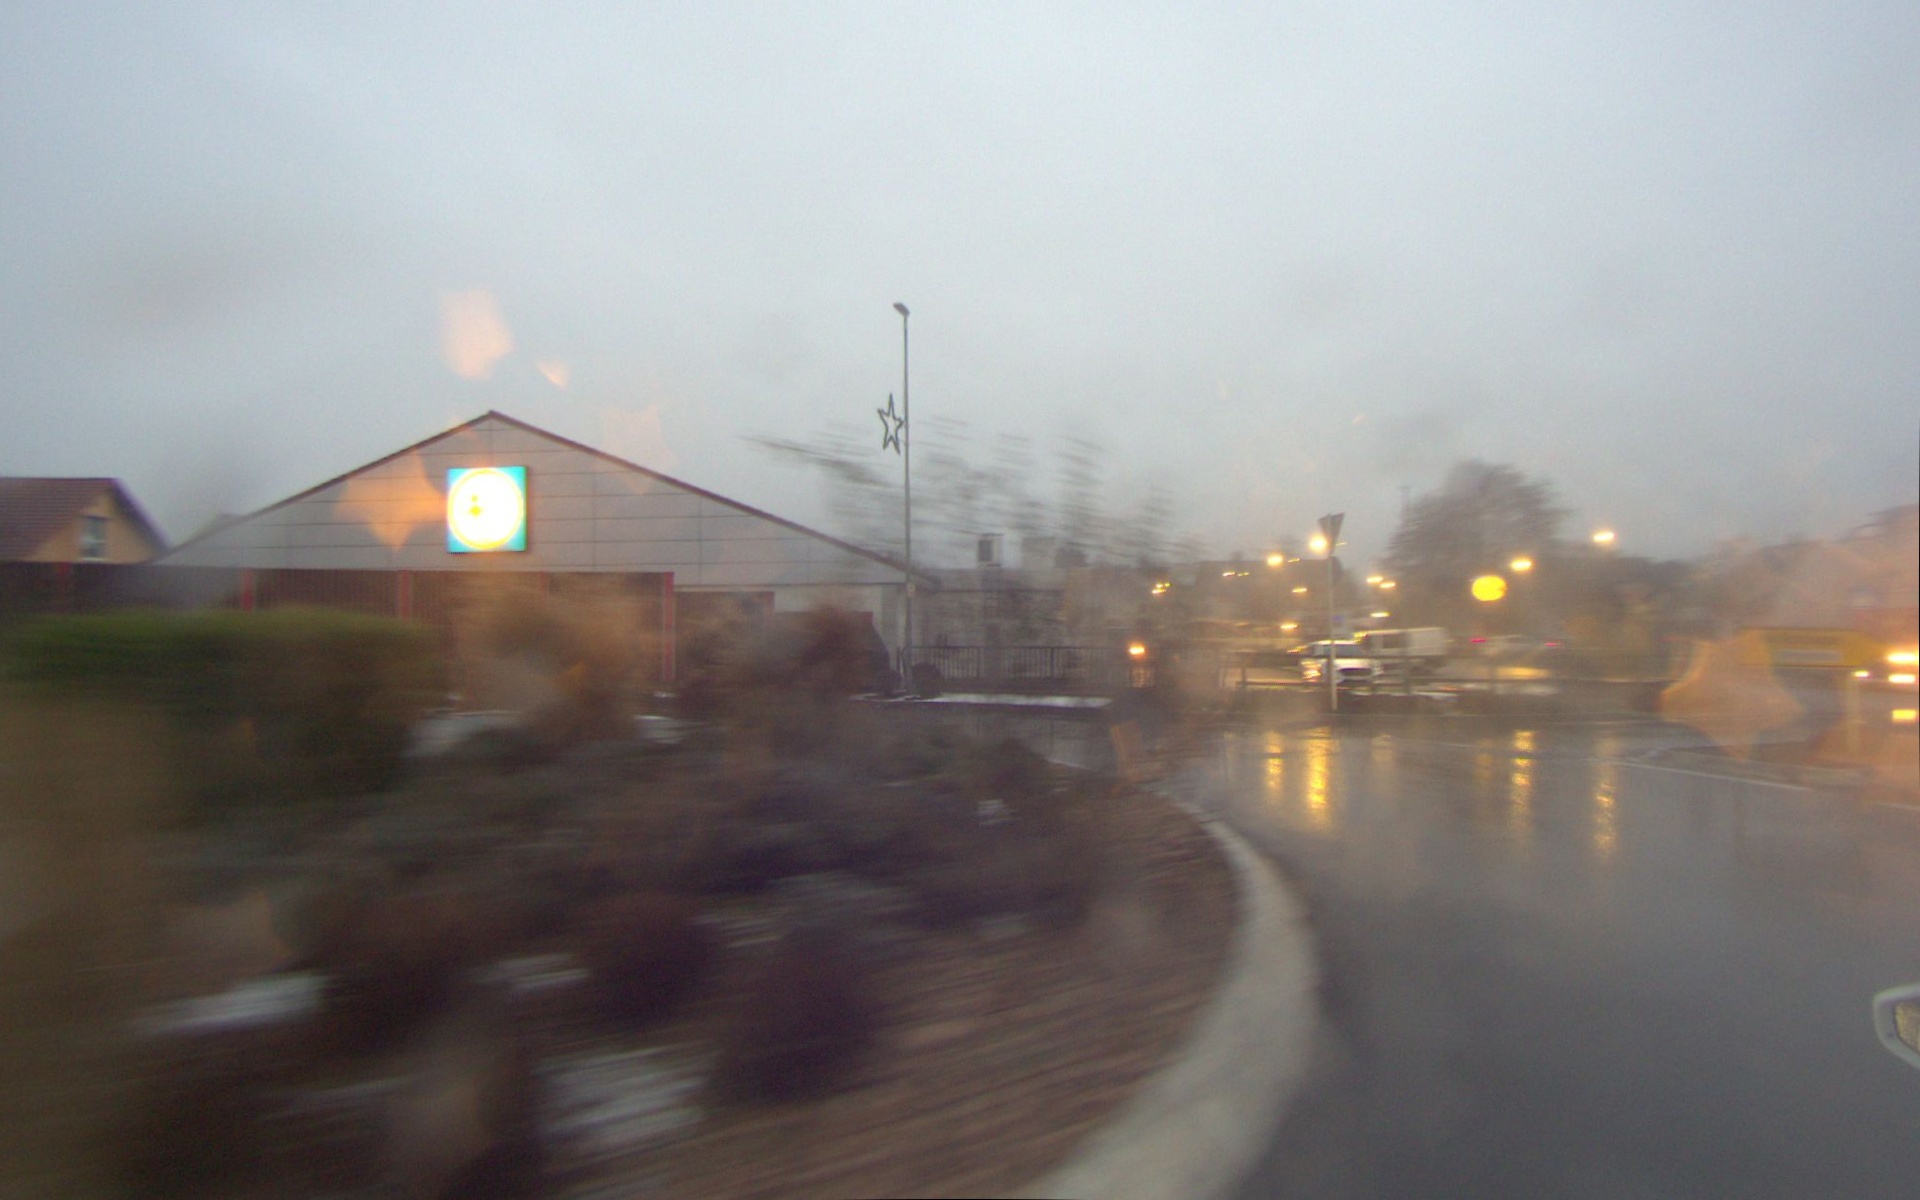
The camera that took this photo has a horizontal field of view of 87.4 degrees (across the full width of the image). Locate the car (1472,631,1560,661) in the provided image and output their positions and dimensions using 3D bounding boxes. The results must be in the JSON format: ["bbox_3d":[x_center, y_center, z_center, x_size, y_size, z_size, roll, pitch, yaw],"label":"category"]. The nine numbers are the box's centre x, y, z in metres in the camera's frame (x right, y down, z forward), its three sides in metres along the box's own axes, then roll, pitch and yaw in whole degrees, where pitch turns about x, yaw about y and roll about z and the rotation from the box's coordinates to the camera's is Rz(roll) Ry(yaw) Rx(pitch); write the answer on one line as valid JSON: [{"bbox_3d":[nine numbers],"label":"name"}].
[{"bbox_3d":[33.108,2.719,59.934,4.267,1.770,1.707,0,-1,8],"label":"car"}]

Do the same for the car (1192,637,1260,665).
[{"bbox_3d":[16.358,3.113,61.801,3.773,1.561,1.729,1,0,5],"label":"car"}]

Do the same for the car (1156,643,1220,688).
[{"bbox_3d":[7.960,2.274,35.405,1.804,1.329,4.002,1,-1,7],"label":"car"}]

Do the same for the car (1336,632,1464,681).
[{"bbox_3d":[21.420,2.713,49.038,5.314,2.162,2.034,2,-1,3],"label":"car"}]

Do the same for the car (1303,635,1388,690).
[{"bbox_3d":[12.774,2.017,33.563,2.023,1.582,4.283,1,-1,13],"label":"car"}]

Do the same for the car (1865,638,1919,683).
[{"bbox_3d":[47.846,3.035,50.975,2.134,2.087,4.559,-1,-1,33],"label":"car"}]
